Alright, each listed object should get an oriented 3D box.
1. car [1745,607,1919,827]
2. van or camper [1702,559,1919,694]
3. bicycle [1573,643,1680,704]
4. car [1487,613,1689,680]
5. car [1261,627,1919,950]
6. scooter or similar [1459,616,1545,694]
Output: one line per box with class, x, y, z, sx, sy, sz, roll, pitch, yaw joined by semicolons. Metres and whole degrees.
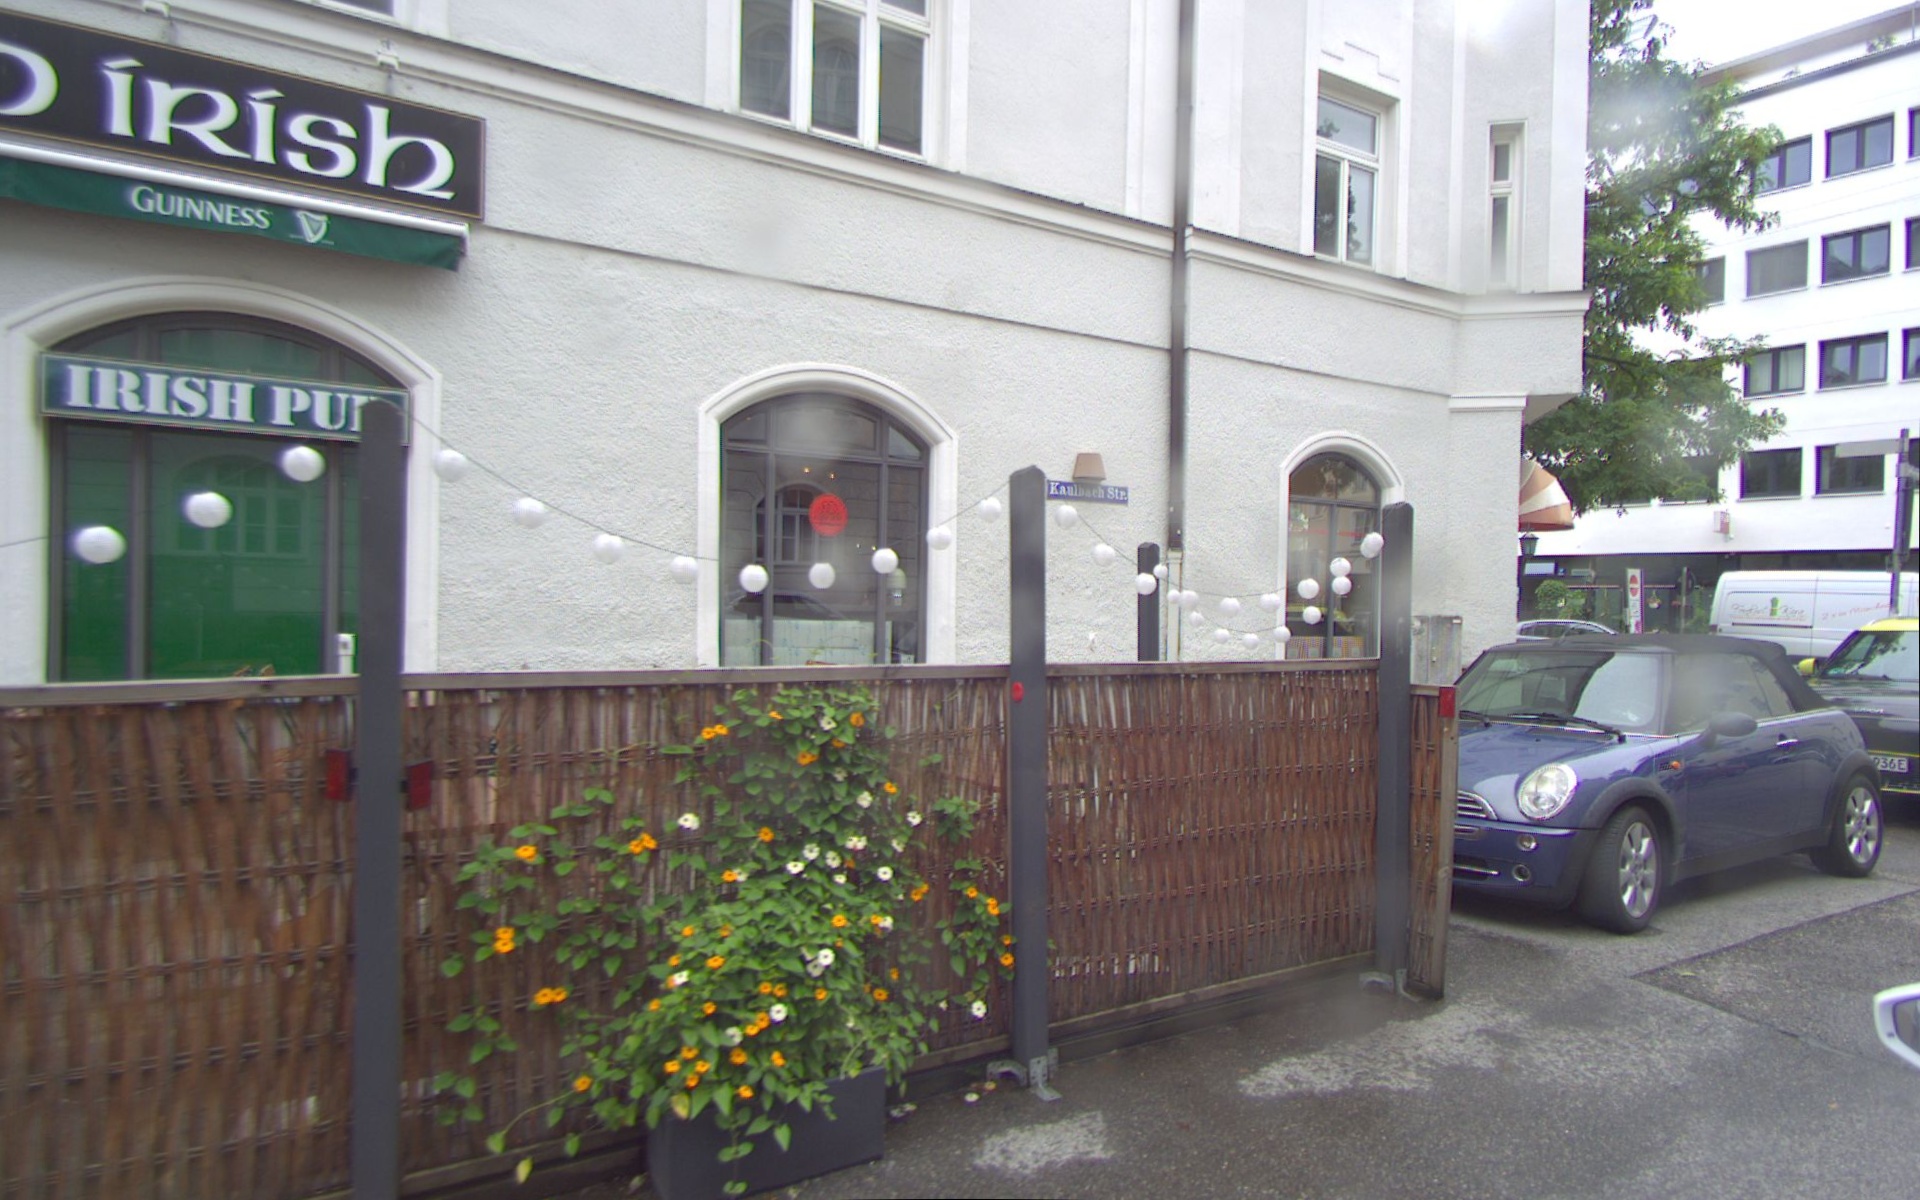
car;8.638;0.919;8.627;3.899;1.618;1.669;2;-2;-30
van or camper;19.620;0.574;21.387;1.857;2.712;5.857;3;-2;-39
bicycle;12.004;1.311;18.131;1.537;0.959;0.897;3;-1;34
car;15.872;1.154;25.517;1.787;1.447;4.014;5;-2;-42
car;3.901;0.886;6.098;3.950;1.408;1.700;1;-2;-28
scooter or similar;8.961;0.913;16.607;1.169;1.232;0.554;2;1;-18
